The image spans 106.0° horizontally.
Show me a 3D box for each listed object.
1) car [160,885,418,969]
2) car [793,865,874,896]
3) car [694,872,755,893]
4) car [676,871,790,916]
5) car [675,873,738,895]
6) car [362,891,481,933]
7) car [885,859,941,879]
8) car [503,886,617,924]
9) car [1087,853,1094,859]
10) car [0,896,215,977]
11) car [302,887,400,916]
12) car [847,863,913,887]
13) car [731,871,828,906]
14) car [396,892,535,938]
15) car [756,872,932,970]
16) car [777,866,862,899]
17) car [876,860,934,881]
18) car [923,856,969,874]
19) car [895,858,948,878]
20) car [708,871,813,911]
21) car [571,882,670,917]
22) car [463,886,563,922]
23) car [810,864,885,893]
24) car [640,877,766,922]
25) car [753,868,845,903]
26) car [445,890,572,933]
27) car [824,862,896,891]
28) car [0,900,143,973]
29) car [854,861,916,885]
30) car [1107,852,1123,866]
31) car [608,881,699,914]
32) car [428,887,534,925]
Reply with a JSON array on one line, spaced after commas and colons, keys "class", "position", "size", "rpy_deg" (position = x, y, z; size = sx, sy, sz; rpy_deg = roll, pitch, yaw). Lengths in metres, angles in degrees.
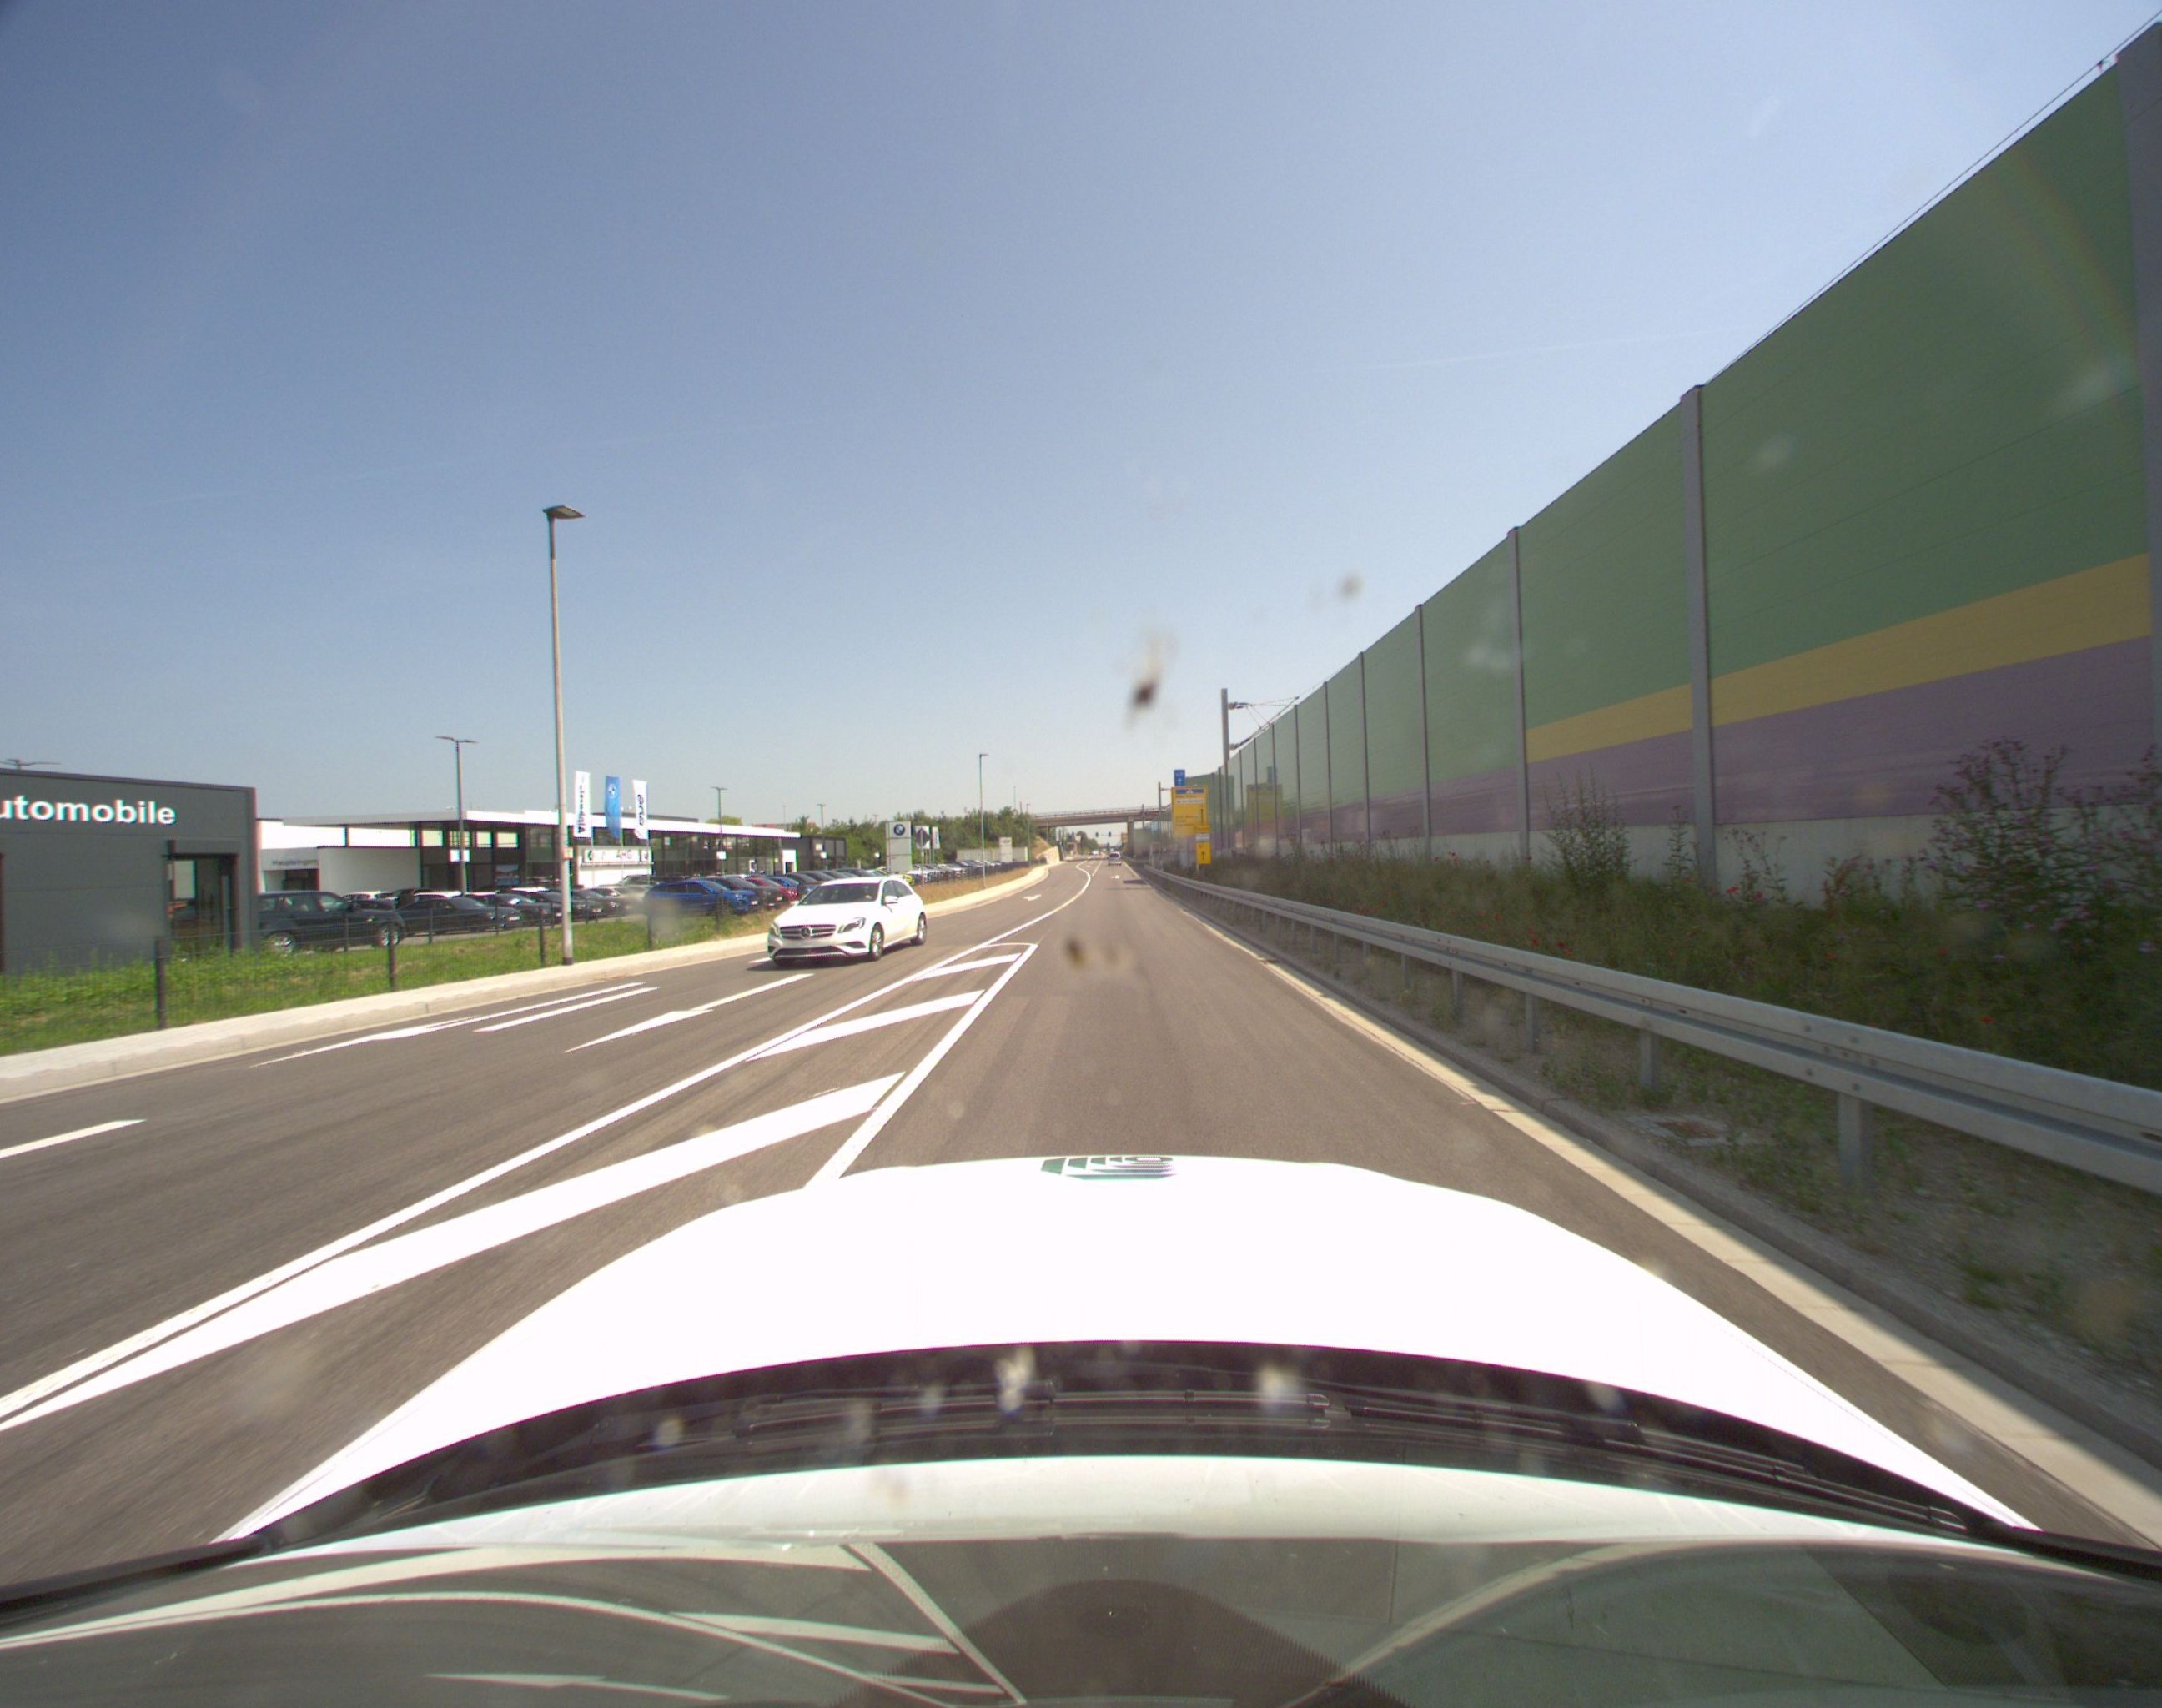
[{"class": "car", "position": [-20.176, 1.765, 21.136], "size": [1.947, 1.738, 4.752], "rpy_deg": [-3, -1, 1]}, {"class": "car", "position": [-14.214, 1.489, 46.935], "size": [3.974, 1.534, 1.971], "rpy_deg": [-3, 1, 0]}, {"class": "car", "position": [-29.655, 2.341, 67.815], "size": [4.148, 1.466, 1.816], "rpy_deg": [-3, 1, 2]}, {"class": "car", "position": [-14.656, 1.648, 34.459], "size": [3.974, 1.636, 1.815], "rpy_deg": [-3, 1, 0]}, {"class": "car", "position": [-29.971, 2.388, 65.214], "size": [4.148, 1.466, 1.816], "rpy_deg": [-3, 1, 2]}, {"class": "car", "position": [-30.639, 2.674, 37.925], "size": [3.977, 1.593, 1.676], "rpy_deg": [-3, 1, -3]}, {"class": "car", "position": [-13.984, 1.259, 67.958], "size": [4.148, 1.466, 1.816], "rpy_deg": [-3, 1, 2]}, {"class": "car", "position": [-23.999, 2.336, 37.610], "size": [3.974, 1.480, 1.815], "rpy_deg": [-3, 1, 0]}, {"class": "car", "position": [3.037, 0.615, 249.379], "size": [1.986, 1.926, 4.002], "rpy_deg": [-3, 0, 2]}, {"class": "car", "position": [-26.476, 2.116, 21.563], "size": [1.947, 1.738, 4.752], "rpy_deg": [-3, -1, 1]}, {"class": "car", "position": [-44.236, 2.856, 49.404], "size": [4.317, 1.480, 1.627], "rpy_deg": [-3, 1, -1]}, {"class": "car", "position": [-13.989, 1.464, 56.814], "size": [3.971, 1.391, 1.880], "rpy_deg": [-3, 1, 2]}, {"class": "car", "position": [-14.559, 1.645, 39.448], "size": [3.974, 1.445, 1.786], "rpy_deg": [-3, 1, 0]}, {"class": "car", "position": [-24.109, 2.378, 31.990], "size": [3.974, 1.480, 1.815], "rpy_deg": [-3, 1, 0]}, {"class": "car", "position": [-4.167, 1.120, 15.025], "size": [1.773, 1.416, 4.054], "rpy_deg": [-2, 0, 4]}, {"class": "car", "position": [-14.263, 1.527, 44.522], "size": [3.974, 1.534, 1.815], "rpy_deg": [-3, 1, 0]}, {"class": "car", "position": [-14.061, 1.298, 65.150], "size": [4.148, 1.466, 1.816], "rpy_deg": [-3, 1, 2]}, {"class": "car", "position": [-13.423, 1.068, 81.059], "size": [4.148, 1.545, 1.816], "rpy_deg": [-3, 1, 2]}, {"class": "car", "position": [-13.834, 1.217, 70.717], "size": [4.148, 1.545, 1.816], "rpy_deg": [-3, 1, 2]}, {"class": "car", "position": [-14.556, 1.657, 37.102], "size": [3.974, 1.528, 1.815], "rpy_deg": [-3, 1, 0]}, {"class": "car", "position": [-23.753, 2.336, 42.100], "size": [3.974, 1.494, 1.815], "rpy_deg": [-3, 1, 0]}, {"class": "car", "position": [-30.346, 2.663, 43.563], "size": [3.974, 1.586, 1.815], "rpy_deg": [-3, 1, 0]}, {"class": "car", "position": [-14.160, 1.474, 49.595], "size": [3.974, 1.534, 1.815], "rpy_deg": [-3, 1, 0]}, {"class": "car", "position": [-14.758, 1.758, 31.964], "size": [3.974, 1.480, 1.911], "rpy_deg": [-3, 1, 0]}, {"class": "car", "position": [-14.463, 1.602, 41.869], "size": [3.974, 1.494, 1.915], "rpy_deg": [-3, 1, 0]}, {"class": "car", "position": [-24.123, 2.395, 34.398], "size": [3.974, 1.480, 1.815], "rpy_deg": [-3, 1, 0]}, {"class": "car", "position": [-14.176, 1.429, 52.328], "size": [3.974, 1.572, 2.054], "rpy_deg": [-3, 1, 0]}, {"class": "car", "position": [-28.534, 2.221, 21.497], "size": [1.947, 1.738, 4.752], "rpy_deg": [-3, -1, 1]}, {"class": "car", "position": [-14.232, 1.379, 59.318], "size": [3.971, 1.534, 1.816], "rpy_deg": [-3, 1, 2]}, {"class": "car", "position": [4.537, 0.714, 109.254], "size": [1.985, 1.757, 4.004], "rpy_deg": [-2, 0, 4]}, {"class": "car", "position": [-23.669, 2.392, 45.155], "size": [3.974, 1.494, 1.815], "rpy_deg": [-3, 1, 0]}, {"class": "car", "position": [-30.265, 2.616, 41.155], "size": [3.977, 1.593, 1.676], "rpy_deg": [-3, 1, -3]}]
